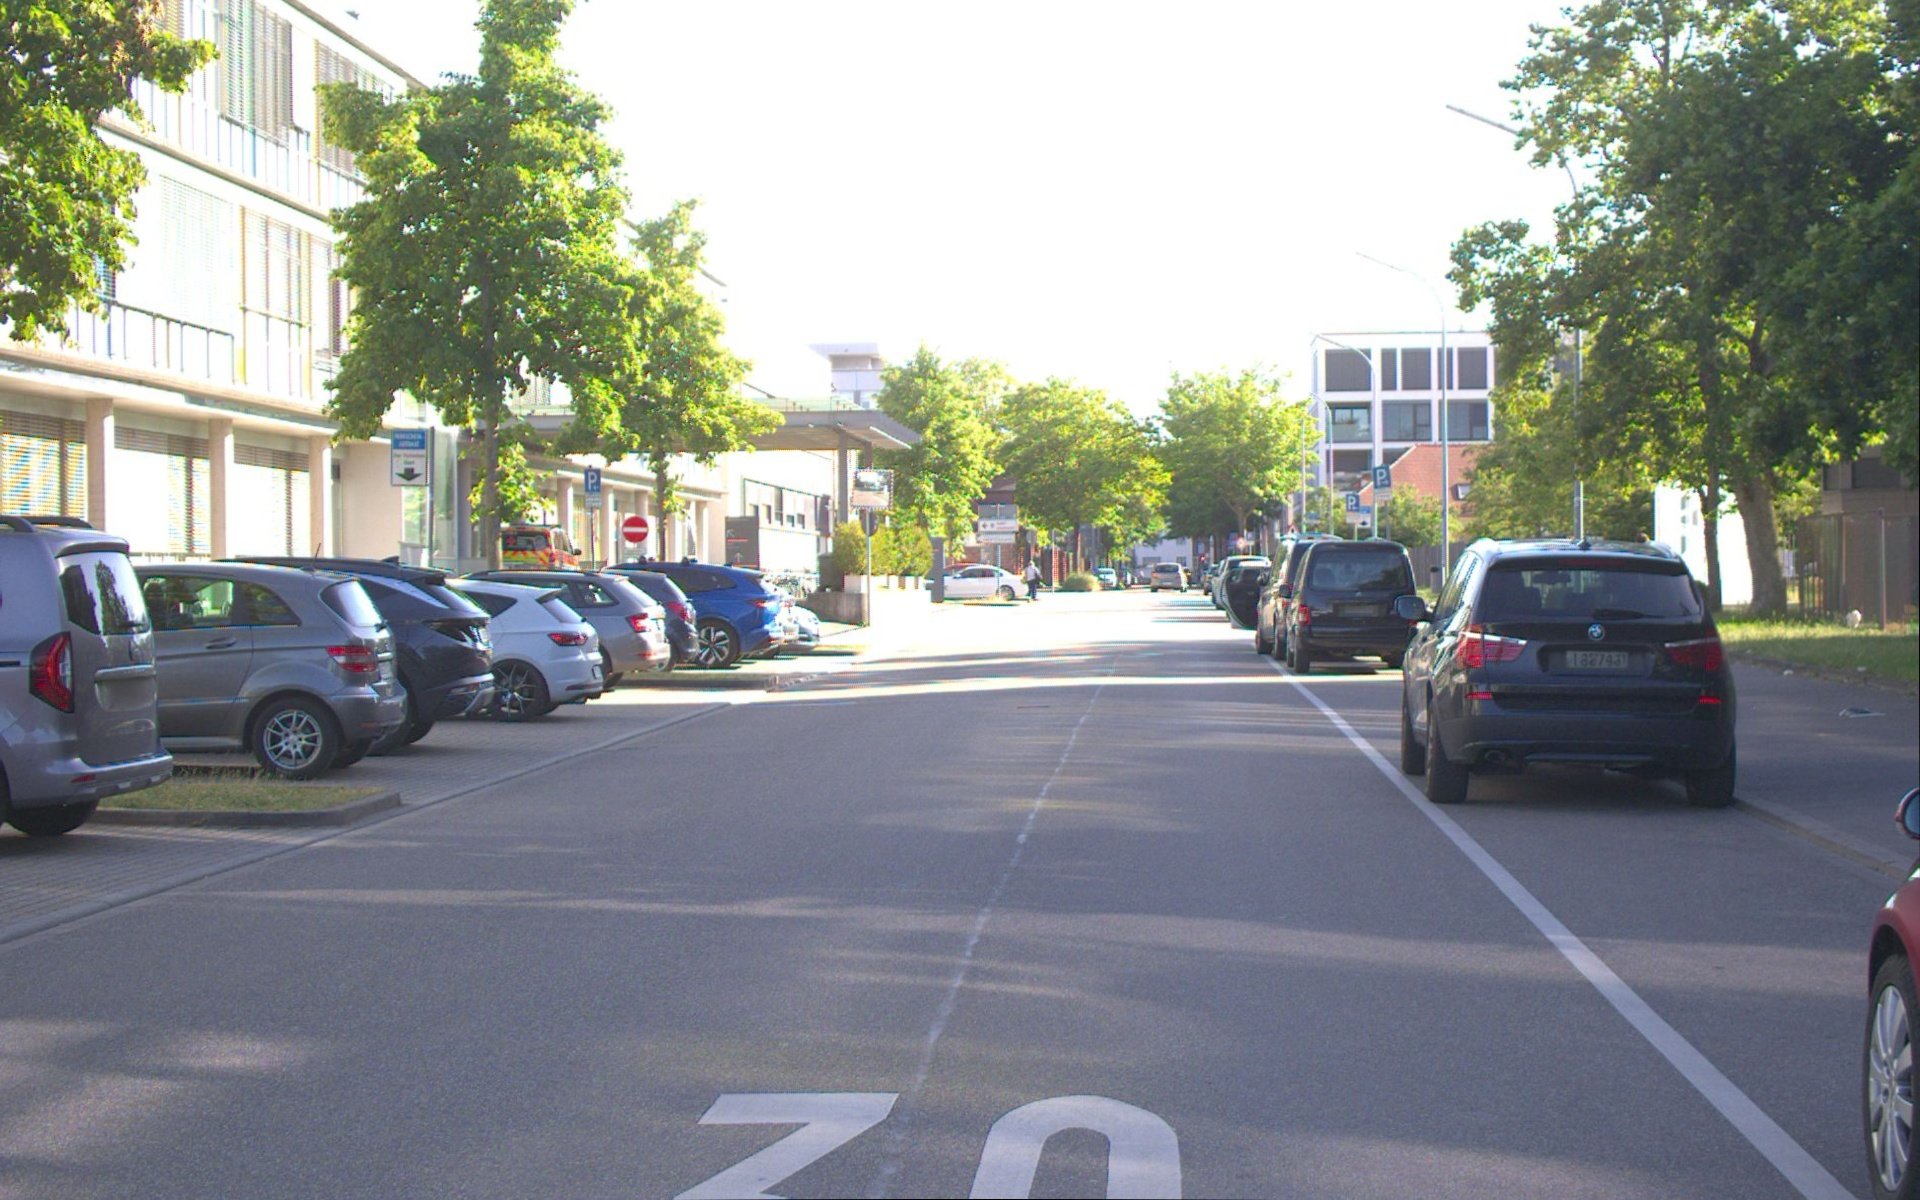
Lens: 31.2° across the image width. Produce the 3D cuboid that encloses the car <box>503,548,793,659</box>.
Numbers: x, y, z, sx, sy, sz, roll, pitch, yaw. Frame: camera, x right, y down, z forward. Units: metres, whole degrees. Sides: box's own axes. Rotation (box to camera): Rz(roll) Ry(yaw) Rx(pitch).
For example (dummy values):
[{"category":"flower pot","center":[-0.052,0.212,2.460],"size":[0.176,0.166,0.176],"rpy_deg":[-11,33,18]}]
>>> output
[{"category":"car","center":[-4.703,0.039,52.257],"size":[4.214,1.597,1.872],"rpy_deg":[1,1,0]}]

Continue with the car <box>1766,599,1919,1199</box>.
[{"category":"car","center":[2.872,0.756,6.678],"size":[1.720,1.450,4.651],"rpy_deg":[1,1,3]}]

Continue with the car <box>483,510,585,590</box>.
[{"category":"car","center":[-11.318,-1.303,91.561],"size":[1.994,2.007,3.999],"rpy_deg":[0,-1,3]}]

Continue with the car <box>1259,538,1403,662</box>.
[{"category":"car","center":[5.763,-0.024,53.857],"size":[1.994,1.816,4.198],"rpy_deg":[-1,1,3]}]

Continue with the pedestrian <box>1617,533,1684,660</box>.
[{"category":"pedestrian","center":[9.246,-0.049,46.075],"size":[0.698,1.655,0.751],"rpy_deg":[-3,0,3]}]

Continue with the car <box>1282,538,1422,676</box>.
[{"category":"car","center":[5.389,0.075,47.628],"size":[1.733,1.824,3.905],"rpy_deg":[0,1,4]}]

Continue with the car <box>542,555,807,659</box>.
[{"category":"car","center":[-4.502,0.102,54.684],"size":[3.987,1.547,2.000],"rpy_deg":[-1,0,1]}]

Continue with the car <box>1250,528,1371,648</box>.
[{"category":"car","center":[6.093,-0.227,60.094],"size":[1.875,1.971,4.000],"rpy_deg":[-1,1,3]}]

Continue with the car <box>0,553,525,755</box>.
[{"category":"car","center":[-5.991,0.436,29.483],"size":[4.246,1.606,2.048],"rpy_deg":[1,1,0]}]

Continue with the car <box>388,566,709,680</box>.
[{"category":"car","center":[-5.670,0.302,47.726],"size":[4.214,1.481,1.872],"rpy_deg":[1,1,0]}]

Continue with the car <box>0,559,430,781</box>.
[{"category":"car","center":[-6.244,0.503,26.540],"size":[3.987,1.601,1.872],"rpy_deg":[1,1,0]}]

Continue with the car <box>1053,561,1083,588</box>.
[{"category":"car","center":[6.364,-1.518,201.834],"size":[1.727,1.531,4.000],"rpy_deg":[-1,1,2]}]

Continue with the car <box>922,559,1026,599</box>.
[{"category":"car","center":[0.555,-0.825,135.695],"size":[3.987,1.514,2.000],"rpy_deg":[0,-1,4]}]

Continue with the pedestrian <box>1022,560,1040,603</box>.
[{"category":"pedestrian","center":[2.714,-0.718,131.939],"size":[0.618,1.619,0.716],"rpy_deg":[-1,0,3]}]

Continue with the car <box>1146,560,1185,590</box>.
[{"category":"car","center":[10.383,-1.268,173.537],"size":[1.744,1.538,3.999],"rpy_deg":[0,0,6]}]

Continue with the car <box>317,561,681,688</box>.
[{"category":"car","center":[-5.620,0.288,42.294],"size":[4.214,1.457,1.872],"rpy_deg":[1,1,0]}]

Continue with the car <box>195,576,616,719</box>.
[{"category":"car","center":[-5.597,0.465,35.008],"size":[3.987,1.354,1.743],"rpy_deg":[1,1,0]}]

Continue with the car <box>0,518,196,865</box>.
[{"category":"car","center":[-6.958,0.444,19.579],"size":[4.743,1.858,1.827],"rpy_deg":[1,1,4]}]

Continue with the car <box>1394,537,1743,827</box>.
[{"category":"car","center":[3.900,0.443,22.715],"size":[1.812,1.660,4.592],"rpy_deg":[1,1,5]}]

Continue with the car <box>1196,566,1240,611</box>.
[{"category":"car","center":[12.009,-0.529,160.220],"size":[1.994,2.007,3.999],"rpy_deg":[0,-1,3]}]

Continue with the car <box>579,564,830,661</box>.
[{"category":"car","center":[-4.208,0.190,57.179],"size":[3.987,1.546,2.000],"rpy_deg":[0,1,1]}]
